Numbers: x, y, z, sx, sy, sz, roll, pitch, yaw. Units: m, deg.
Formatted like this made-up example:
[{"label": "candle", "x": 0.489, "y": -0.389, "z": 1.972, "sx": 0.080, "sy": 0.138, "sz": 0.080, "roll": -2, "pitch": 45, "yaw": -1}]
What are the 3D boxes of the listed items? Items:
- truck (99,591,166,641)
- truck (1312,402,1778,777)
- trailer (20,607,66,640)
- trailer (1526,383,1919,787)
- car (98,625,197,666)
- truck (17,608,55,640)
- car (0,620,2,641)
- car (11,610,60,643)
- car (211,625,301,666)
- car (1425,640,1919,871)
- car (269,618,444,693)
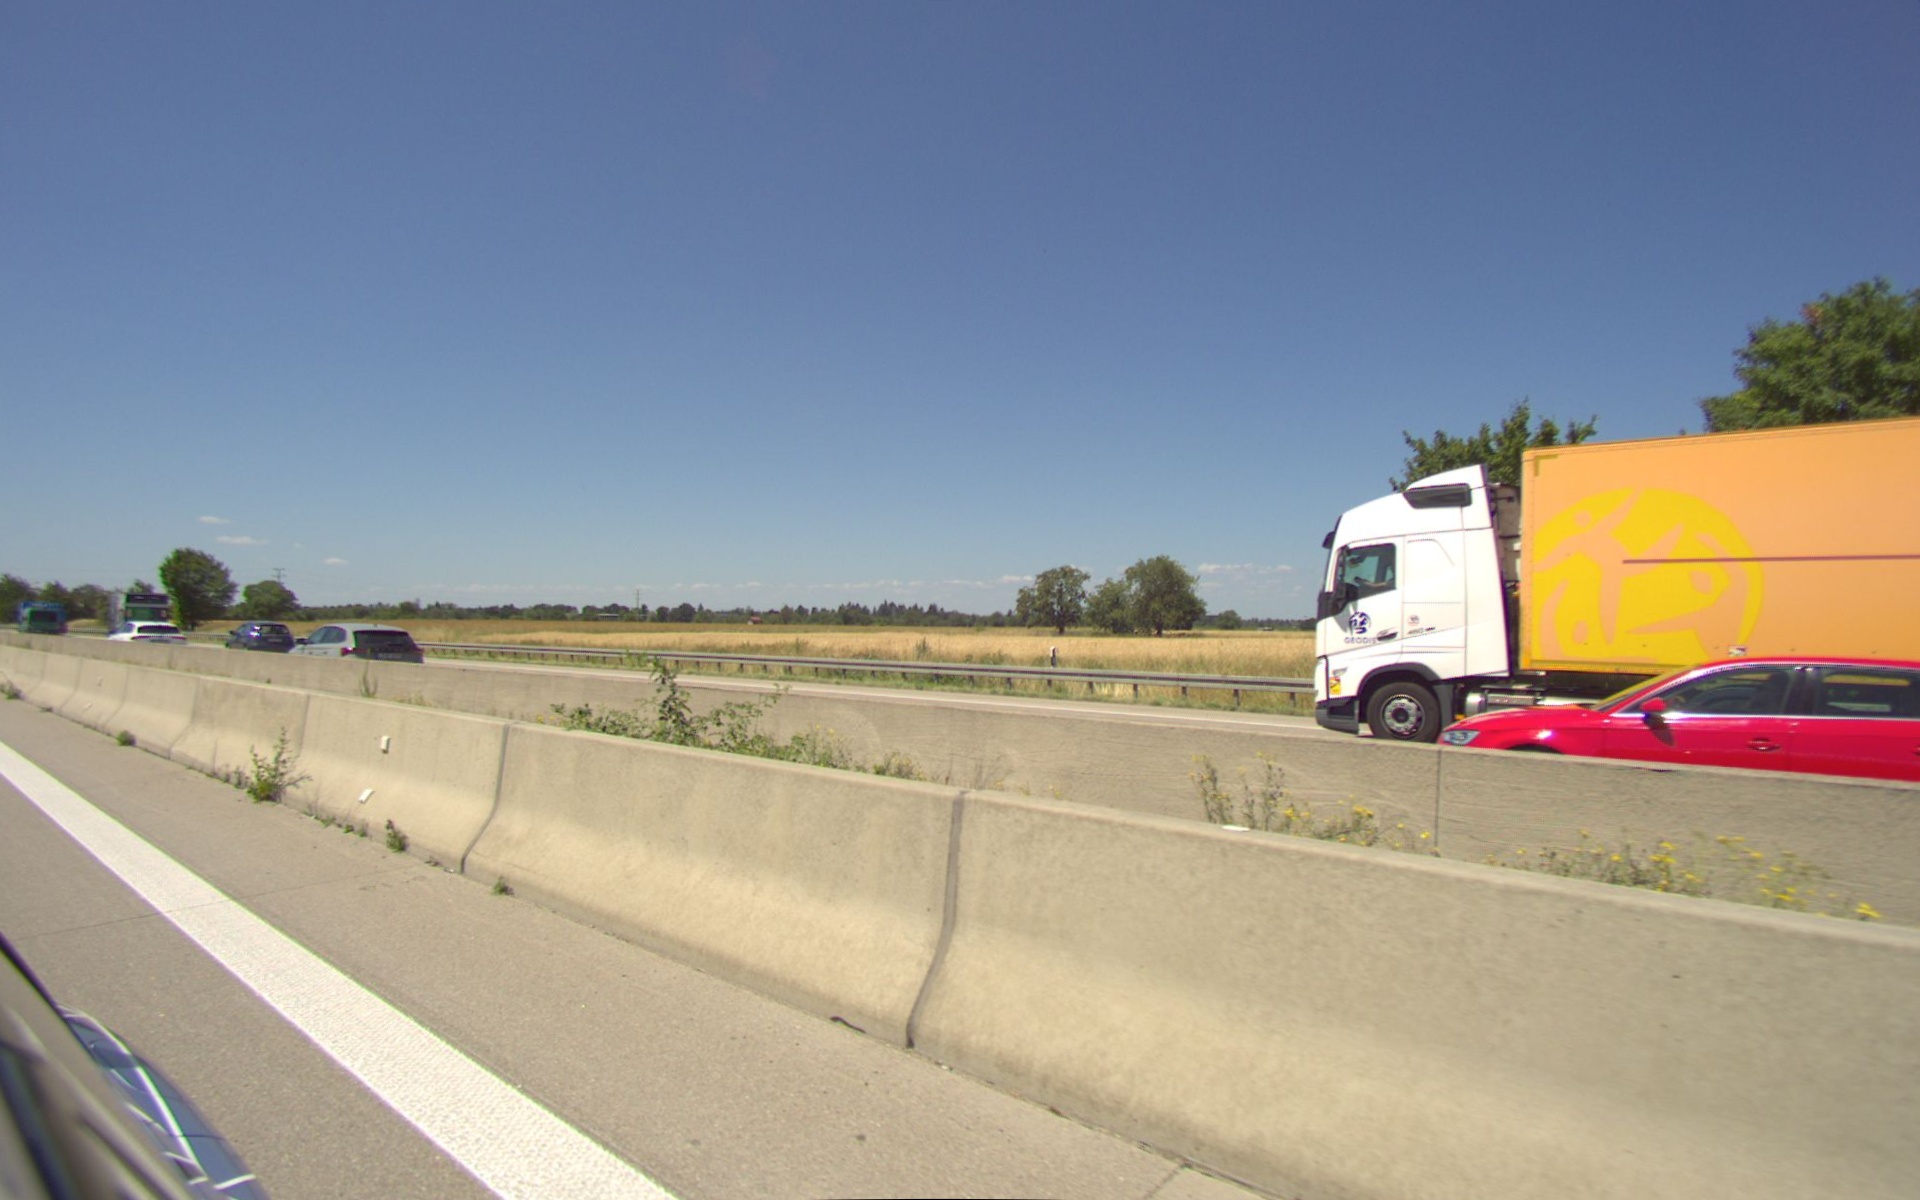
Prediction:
[{"label": "truck", "x": -62.249, "y": 1.251, "z": 76.061, "sx": 7.880, "sy": 3.539, "sz": 2.528, "roll": -1, "pitch": -3, "yaw": 41}, {"label": "truck", "x": 8.044, "y": -0.037, "z": 14.207, "sx": 5.227, "sy": 4.228, "sz": 2.838, "roll": -1, "pitch": -3, "yaw": 41}, {"label": "trailer", "x": -97.091, "y": 2.504, "z": 107.100, "sx": 9.247, "sy": 3.297, "sz": 2.489, "roll": -1, "pitch": -1, "yaw": 41}, {"label": "trailer", "x": 13.509, "y": -0.151, "z": 9.416, "sx": 14.133, "sy": 4.230, "sz": 2.843, "roll": -1, "pitch": -3, "yaw": 41}, {"label": "car", "x": -29.593, "y": 1.645, "z": 36.826, "sx": 4.668, "sy": 1.374, "sz": 1.973, "roll": -1, "pitch": -4, "yaw": 41}, {"label": "truck", "x": -100.359, "y": 2.640, "z": 109.898, "sx": 5.260, "sy": 3.334, "sz": 2.458, "roll": -1, "pitch": -1, "yaw": 40}, {"label": "car", "x": -74.919, "y": 2.326, "z": 77.398, "sx": 4.846, "sy": 1.588, "sz": 1.973, "roll": -1, "pitch": -1, "yaw": 41}, {"label": "car", "x": -74.530, "y": 2.152, "z": 81.584, "sx": 6.460, "sy": 2.570, "sz": 2.127, "roll": -1, "pitch": -3, "yaw": 41}, {"label": "car", "x": -29.114, "y": 1.869, "z": 41.812, "sx": 4.510, "sy": 1.572, "sz": 1.973, "roll": -1, "pitch": -4, "yaw": 41}, {"label": "car", "x": 6.182, "y": 1.022, "z": 7.383, "sx": 4.714, "sy": 1.405, "sz": 1.973, "roll": -1, "pitch": -3, "yaw": 41}, {"label": "car", "x": -13.516, "y": 1.187, "z": 22.542, "sx": 4.708, "sy": 1.496, "sz": 1.973, "roll": -1, "pitch": -3, "yaw": 41}]
